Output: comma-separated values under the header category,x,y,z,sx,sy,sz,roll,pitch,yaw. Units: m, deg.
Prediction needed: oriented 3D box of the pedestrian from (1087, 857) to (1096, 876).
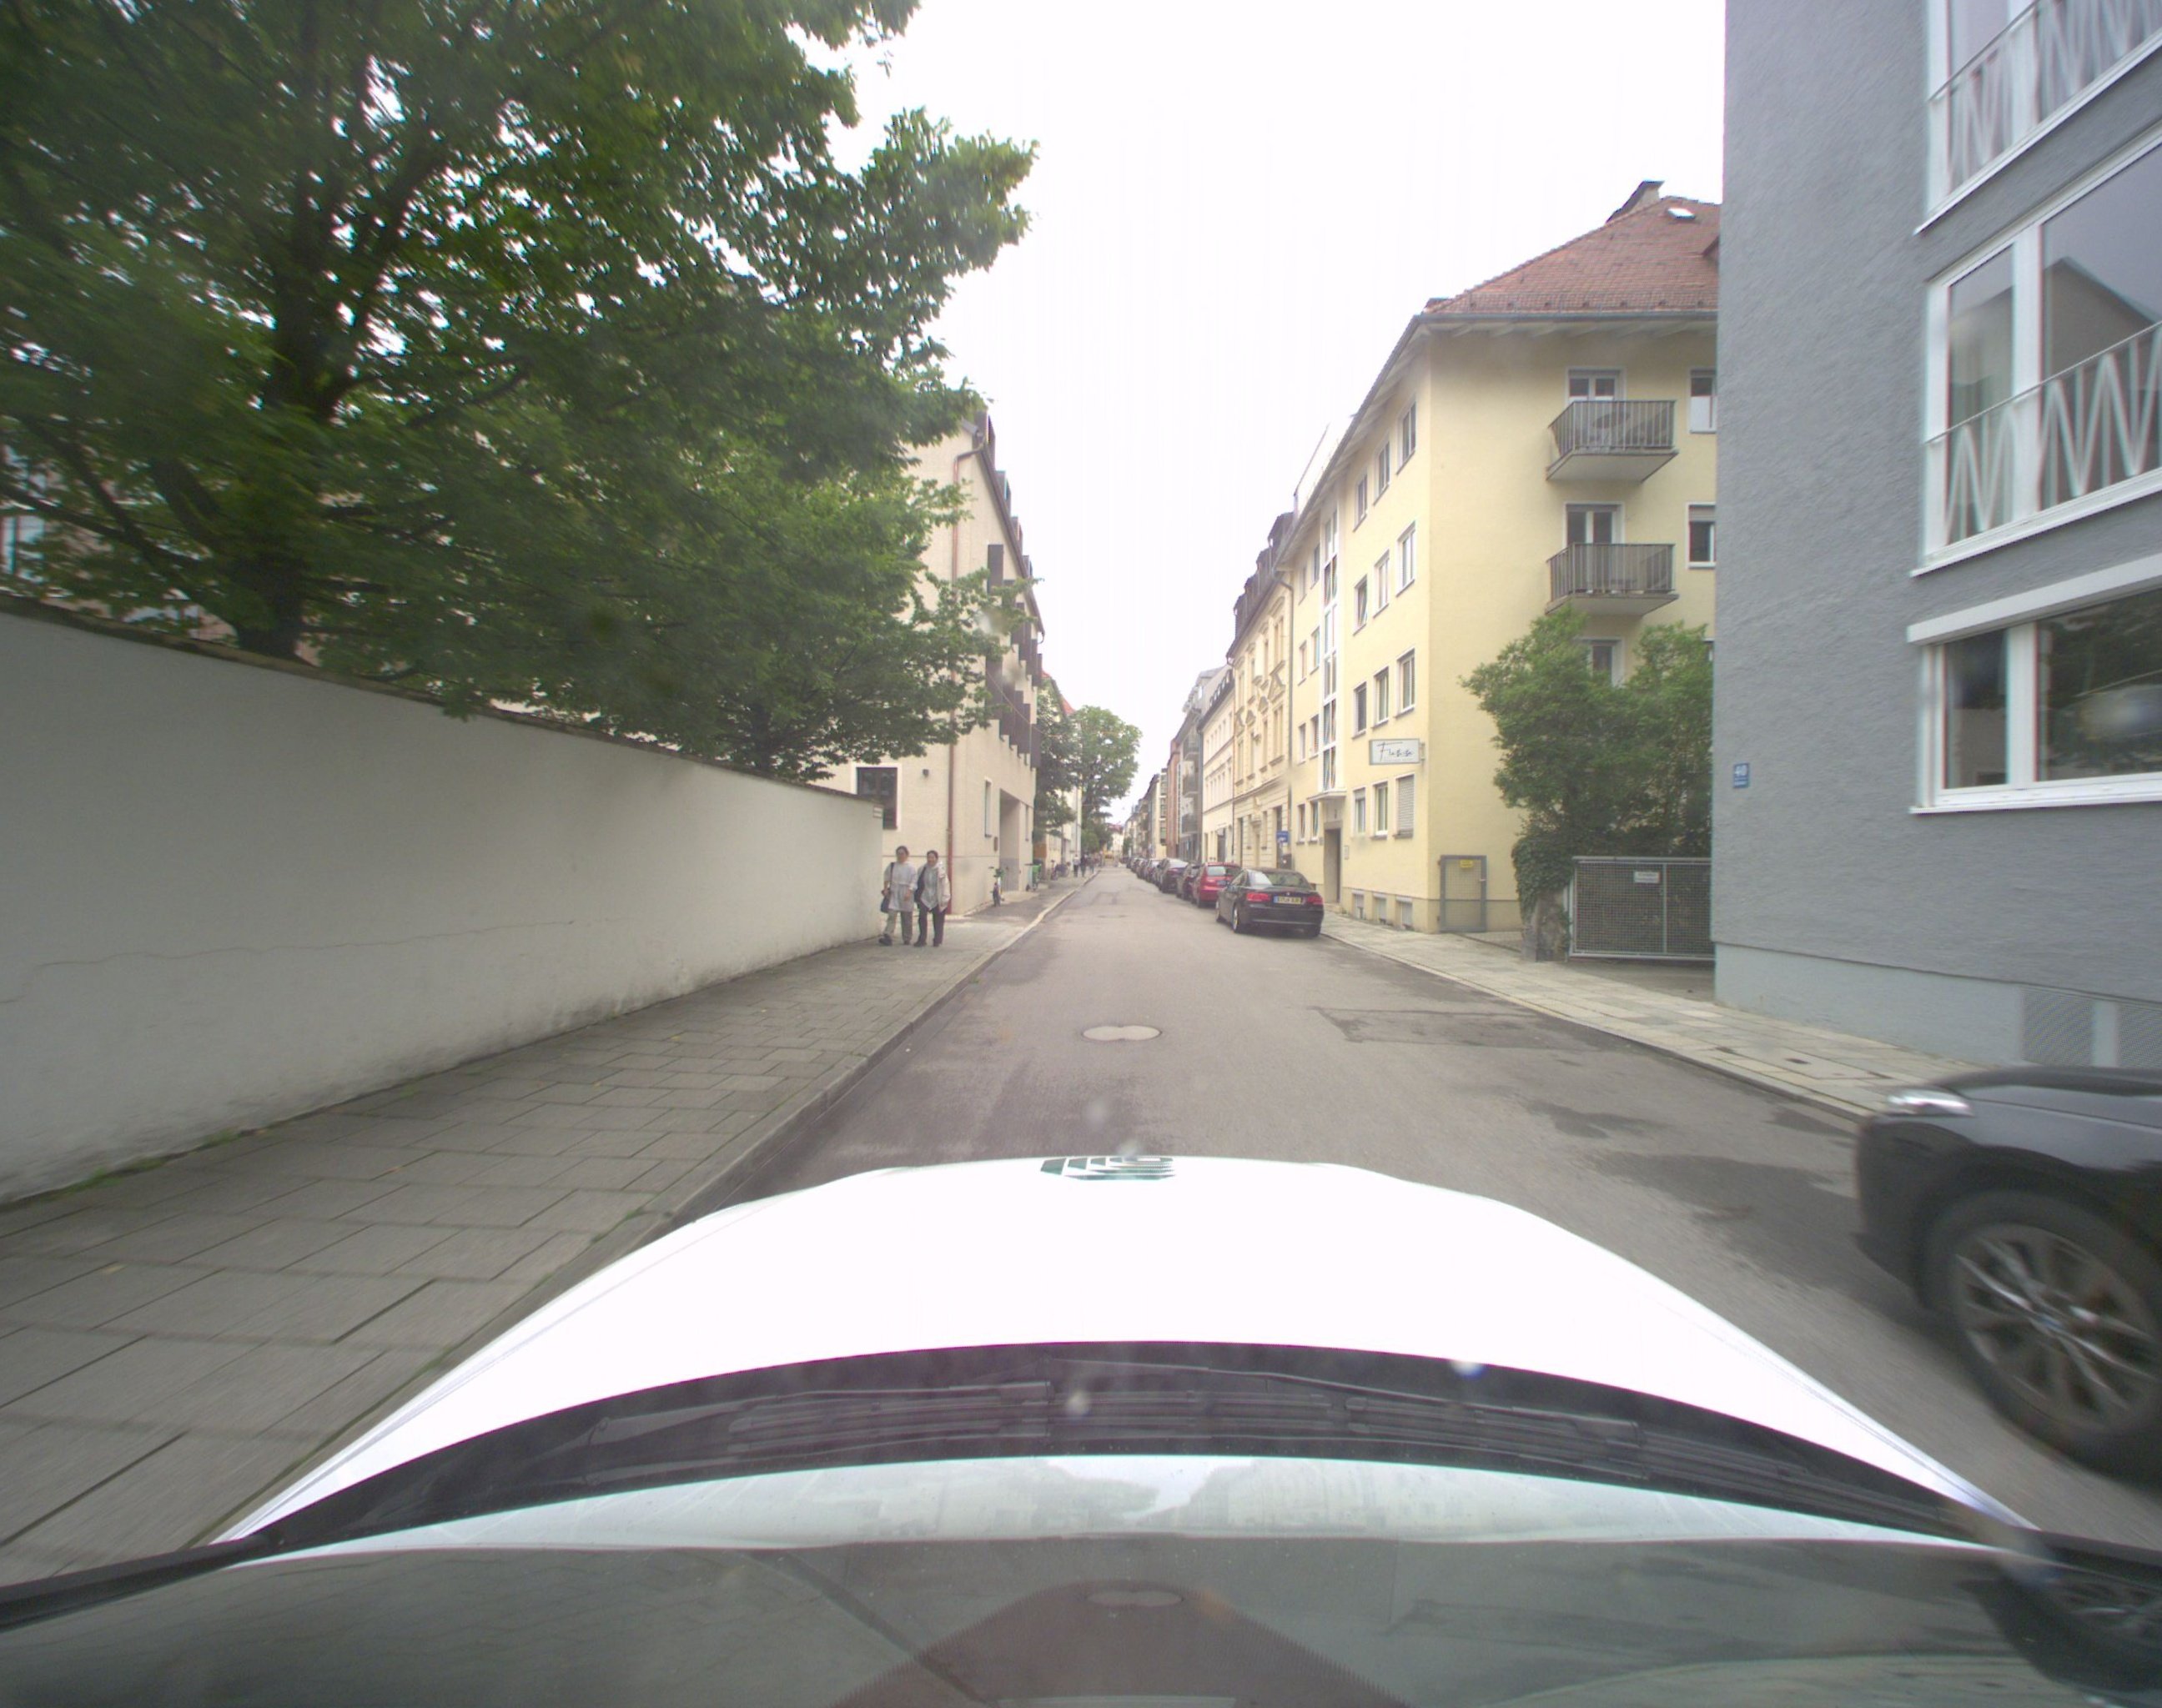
category,x,y,z,sx,sy,sz,roll,pitch,yaw
pedestrian,0.938,1.170,74.900,0.750,1.659,0.907,3,-1,2

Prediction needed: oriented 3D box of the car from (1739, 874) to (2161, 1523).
category,x,y,z,sx,sy,sz,roll,pitch,yaw
car,3.378,0.850,0.886,1.835,1.428,4.263,4,0,0

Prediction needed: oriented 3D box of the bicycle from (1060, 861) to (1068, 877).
category,x,y,z,sx,sy,sz,roll,pitch,yaw
bicycle,-1.265,1.156,60.997,0.456,1.159,1.606,3,-1,3

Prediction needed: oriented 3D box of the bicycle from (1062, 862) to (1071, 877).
category,x,y,z,sx,sy,sz,roll,pitch,yaw
bicycle,-1.120,1.180,62.710,0.560,1.159,1.718,1,-1,-4

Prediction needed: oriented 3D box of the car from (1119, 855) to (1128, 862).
category,x,y,z,sx,sy,sz,roll,pitch,yaw
car,10.639,1.140,203.555,1.795,1.712,3.827,4,0,0

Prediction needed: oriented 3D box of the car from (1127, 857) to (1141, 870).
category,x,y,z,sx,sy,sz,roll,pitch,yaw
car,8.119,1.448,125.723,1.795,1.820,3.999,4,0,0

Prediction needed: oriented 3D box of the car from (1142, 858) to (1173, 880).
category,x,y,z,sx,sy,sz,roll,pitch,yaw
car,5.553,1.077,59.502,1.869,1.570,4.316,-1,0,0

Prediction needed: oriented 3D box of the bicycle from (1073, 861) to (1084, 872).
category,x,y,z,sx,sy,sz,roll,pitch,yaw
bicycle,-0.255,1.318,85.670,0.643,1.217,1.655,0,-1,-17

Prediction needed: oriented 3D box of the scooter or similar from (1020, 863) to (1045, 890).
category,x,y,z,sx,sy,sz,roll,pitch,yaw
scooter or similar,-2.129,0.977,35.726,0.547,1.144,1.364,3,-1,19

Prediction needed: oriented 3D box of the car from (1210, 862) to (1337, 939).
category,x,y,z,sx,sy,sz,roll,pitch,yaw
car,4.128,0.931,18.221,1.819,1.334,4.510,4,0,2

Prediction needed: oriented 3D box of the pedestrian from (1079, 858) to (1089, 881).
category,x,y,z,sx,sy,sz,roll,pitch,yaw
pedestrian,0.224,1.168,61.724,0.715,1.765,0.838,2,-1,2

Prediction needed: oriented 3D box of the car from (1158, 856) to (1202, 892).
category,x,y,z,sx,sy,sz,roll,pitch,yaw
car,4.694,0.917,39.123,1.695,1.607,4.687,1,0,2

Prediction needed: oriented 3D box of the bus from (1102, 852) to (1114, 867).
category,x,y,z,sx,sy,sz,roll,pitch,yaw
bus,5.740,1.155,171.704,2.582,3.102,6.309,0,-1,2

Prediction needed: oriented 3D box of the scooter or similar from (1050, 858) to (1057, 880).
category,x,y,z,sx,sy,sz,roll,pitch,yaw
scooter or similar,-1.737,0.929,51.129,0.316,1.376,1.239,0,-1,2

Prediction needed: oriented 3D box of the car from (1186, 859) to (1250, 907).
category,x,y,z,sx,sy,sz,roll,pitch,yaw
car,4.608,0.947,27.889,1.669,1.492,3.855,1,0,2

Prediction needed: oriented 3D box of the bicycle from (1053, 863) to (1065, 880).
category,x,y,z,sx,sy,sz,roll,pitch,yaw
bicycle,-1.441,1.138,52.852,0.702,0.984,1.821,5,-1,-2

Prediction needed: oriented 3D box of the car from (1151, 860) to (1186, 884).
category,x,y,z,sx,sy,sz,roll,pitch,yaw
car,5.320,1.088,50.044,1.793,1.386,4.350,0,0,2

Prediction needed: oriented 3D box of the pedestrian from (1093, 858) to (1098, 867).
category,x,y,z,sx,sy,sz,roll,pitch,yaw
pedestrian,2.417,1.364,135.711,0.753,1.491,0.831,0,-1,2

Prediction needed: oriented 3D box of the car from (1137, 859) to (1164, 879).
category,x,y,z,sx,sy,sz,roll,pitch,yaw
car,5.427,1.169,64.395,1.833,1.528,4.293,1,0,1

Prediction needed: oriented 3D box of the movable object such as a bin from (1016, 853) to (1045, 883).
category,x,y,z,sx,sy,sz,roll,pitch,yaw
movable object such as a bin,-2.654,0.721,43.274,1.168,1.442,1.251,6,1,8

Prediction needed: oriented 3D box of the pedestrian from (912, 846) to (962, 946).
category,x,y,z,sx,sy,sz,roll,pitch,yaw
pedestrian,-2.344,0.669,13.324,0.620,1.579,0.714,2,-1,2

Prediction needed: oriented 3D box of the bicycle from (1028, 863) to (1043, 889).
category,x,y,z,sx,sy,sz,roll,pitch,yaw
bicycle,-2.096,0.991,37.792,0.542,1.161,1.882,2,0,1

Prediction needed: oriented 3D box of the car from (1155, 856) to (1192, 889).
category,x,y,z,sx,sy,sz,roll,pitch,yaw
car,5.029,0.973,44.905,1.669,1.661,4.514,1,0,2

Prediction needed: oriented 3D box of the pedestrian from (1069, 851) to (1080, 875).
category,x,y,z,sx,sy,sz,roll,pitch,yaw
pedestrian,-0.502,0.662,61.581,0.715,1.796,0.917,2,-1,2

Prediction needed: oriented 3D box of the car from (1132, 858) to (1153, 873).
category,x,y,z,sx,sy,sz,roll,pitch,yaw
car,6.723,1.287,89.245,1.879,1.555,4.391,1,0,0

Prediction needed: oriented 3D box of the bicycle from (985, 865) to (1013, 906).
category,x,y,z,sx,sy,sz,roll,pitch,yaw
bicycle,-2.416,0.910,24.148,0.536,1.139,1.917,2,0,1

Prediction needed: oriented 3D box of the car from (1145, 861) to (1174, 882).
category,x,y,z,sx,sy,sz,roll,pitch,yaw
car,5.231,1.167,54.586,1.800,1.363,3.948,0,0,3

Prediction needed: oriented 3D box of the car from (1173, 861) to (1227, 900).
category,x,y,z,sx,sy,sz,roll,pitch,yaw
car,4.699,1.011,32.575,1.669,1.393,4.067,1,0,2
